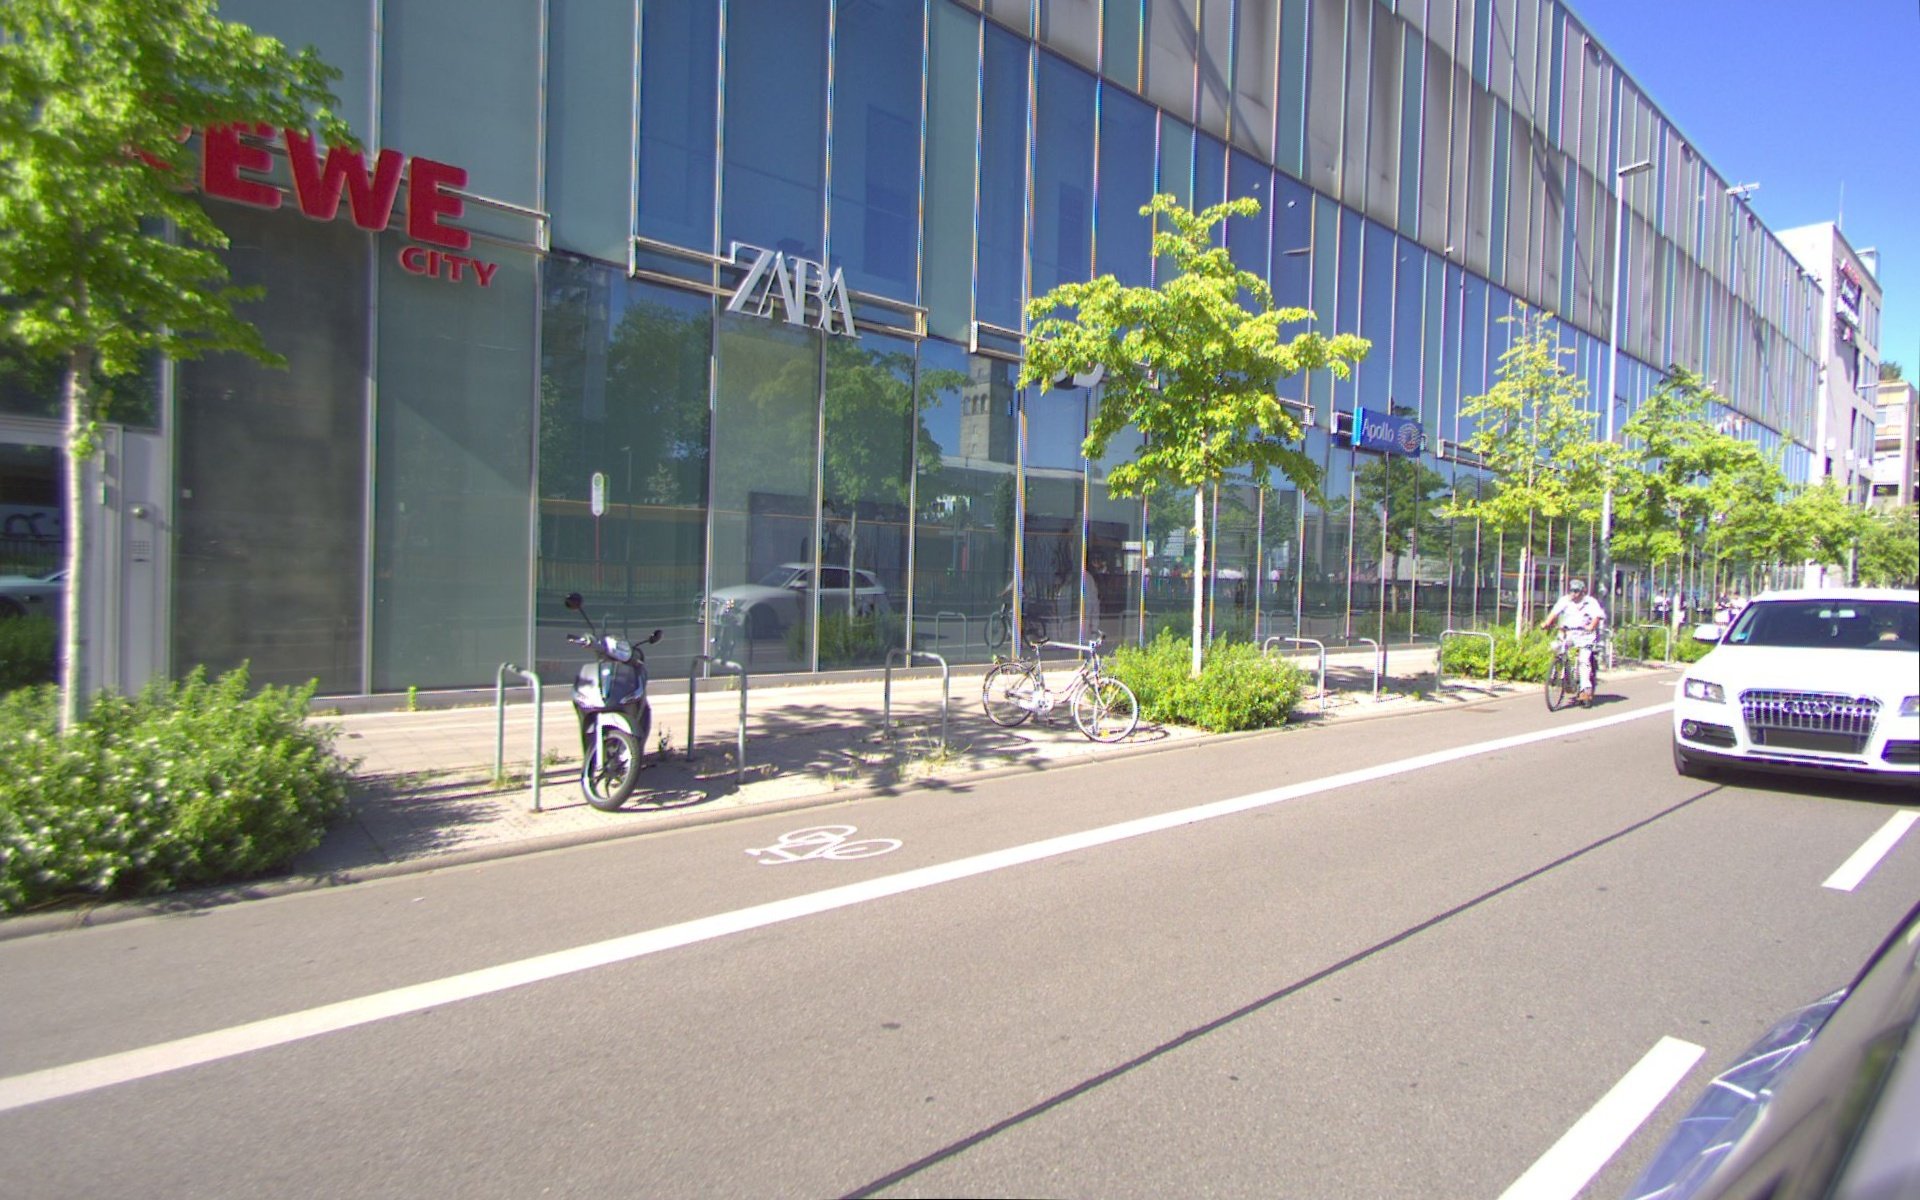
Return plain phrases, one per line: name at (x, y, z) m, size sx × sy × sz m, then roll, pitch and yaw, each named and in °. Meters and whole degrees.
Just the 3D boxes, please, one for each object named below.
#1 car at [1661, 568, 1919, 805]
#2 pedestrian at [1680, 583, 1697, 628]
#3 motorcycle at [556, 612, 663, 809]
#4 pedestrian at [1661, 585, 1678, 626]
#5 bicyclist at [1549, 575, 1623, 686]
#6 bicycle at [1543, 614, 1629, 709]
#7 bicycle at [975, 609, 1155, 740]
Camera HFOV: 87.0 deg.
car at (7.770, 0.597, 8.842) m, size 3.933 × 1.654 × 1.931 m, roll 0°, pitch 1°, yaw -43°
pedestrian at (28.514, 0.214, 39.632) m, size 0.339 × 1.712 × 0.450 m, roll 1°, pitch 1°, yaw -40°
motorcycle at (-2.477, 0.707, 7.300) m, size 0.630 × 1.095 × 1.886 m, roll 1°, pitch 3°, yaw -16°
pedestrian at (28.000, 0.213, 39.936) m, size 0.282 × 1.620 × 0.450 m, roll 1°, pitch 1°, yaw -40°
bicyclist at (8.662, 0.394, 14.006) m, size 0.754 × 1.480 × 0.578 m, roll 1°, pitch 1°, yaw 45°
bicycle at (8.685, 0.812, 14.011) m, size 0.608 × 1.165 × 1.956 m, roll 1°, pitch 1°, yaw 44°
bicycle at (1.022, 0.706, 10.140) m, size 1.729 × 1.075 × 0.462 m, roll 5°, pitch 3°, yaw 35°
